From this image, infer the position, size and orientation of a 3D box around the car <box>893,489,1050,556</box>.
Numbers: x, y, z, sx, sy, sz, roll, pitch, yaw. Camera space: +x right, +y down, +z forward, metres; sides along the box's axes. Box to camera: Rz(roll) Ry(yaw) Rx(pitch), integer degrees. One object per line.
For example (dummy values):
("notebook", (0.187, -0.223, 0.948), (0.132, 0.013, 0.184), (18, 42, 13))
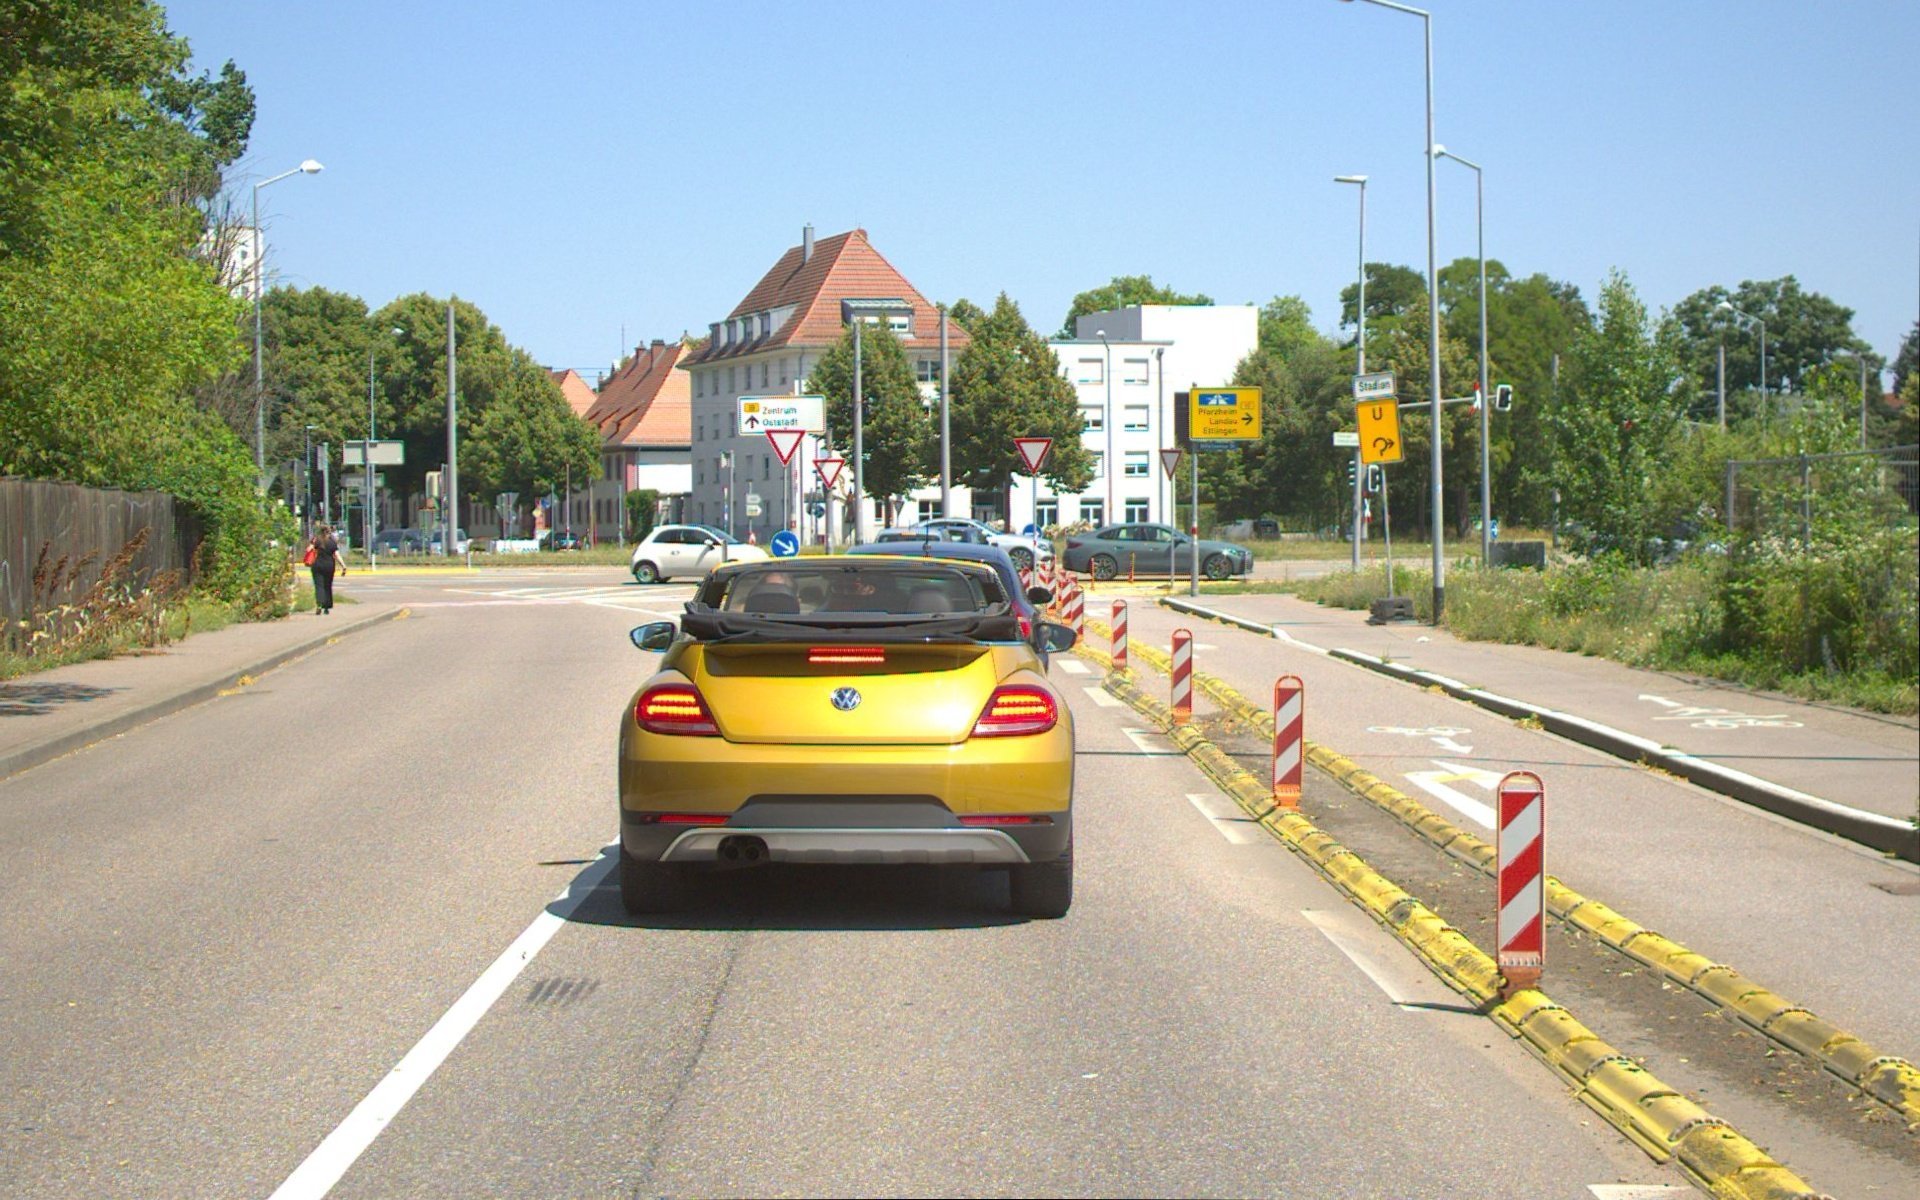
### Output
("car", (0.321, -2.130, 94.014), (4.074, 1.738, 1.566), (-1, 2, 8))

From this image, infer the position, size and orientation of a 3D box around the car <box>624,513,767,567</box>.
("car", (-6.693, -1.512, 87.122), (3.438, 1.271, 1.202), (-1, 2, 6))

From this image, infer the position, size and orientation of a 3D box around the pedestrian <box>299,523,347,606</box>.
("pedestrian", (-11.381, -0.639, 61.413), (0.722, 1.449, 0.818), (-1, 2, -5))

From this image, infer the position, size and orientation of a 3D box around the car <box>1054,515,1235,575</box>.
("car", (4.607, -1.372, 85.585), (4.441, 1.353, 1.537), (-1, 2, 5))

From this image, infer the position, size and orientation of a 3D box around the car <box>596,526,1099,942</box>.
("car", (-0.478, 0.444, 14.359), (1.790, 1.431, 3.814), (-1, 2, -2))

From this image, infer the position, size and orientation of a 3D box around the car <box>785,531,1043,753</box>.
("car", (-0.330, 0.248, 25.454), (1.726, 1.438, 4.000), (-1, 2, 0))
